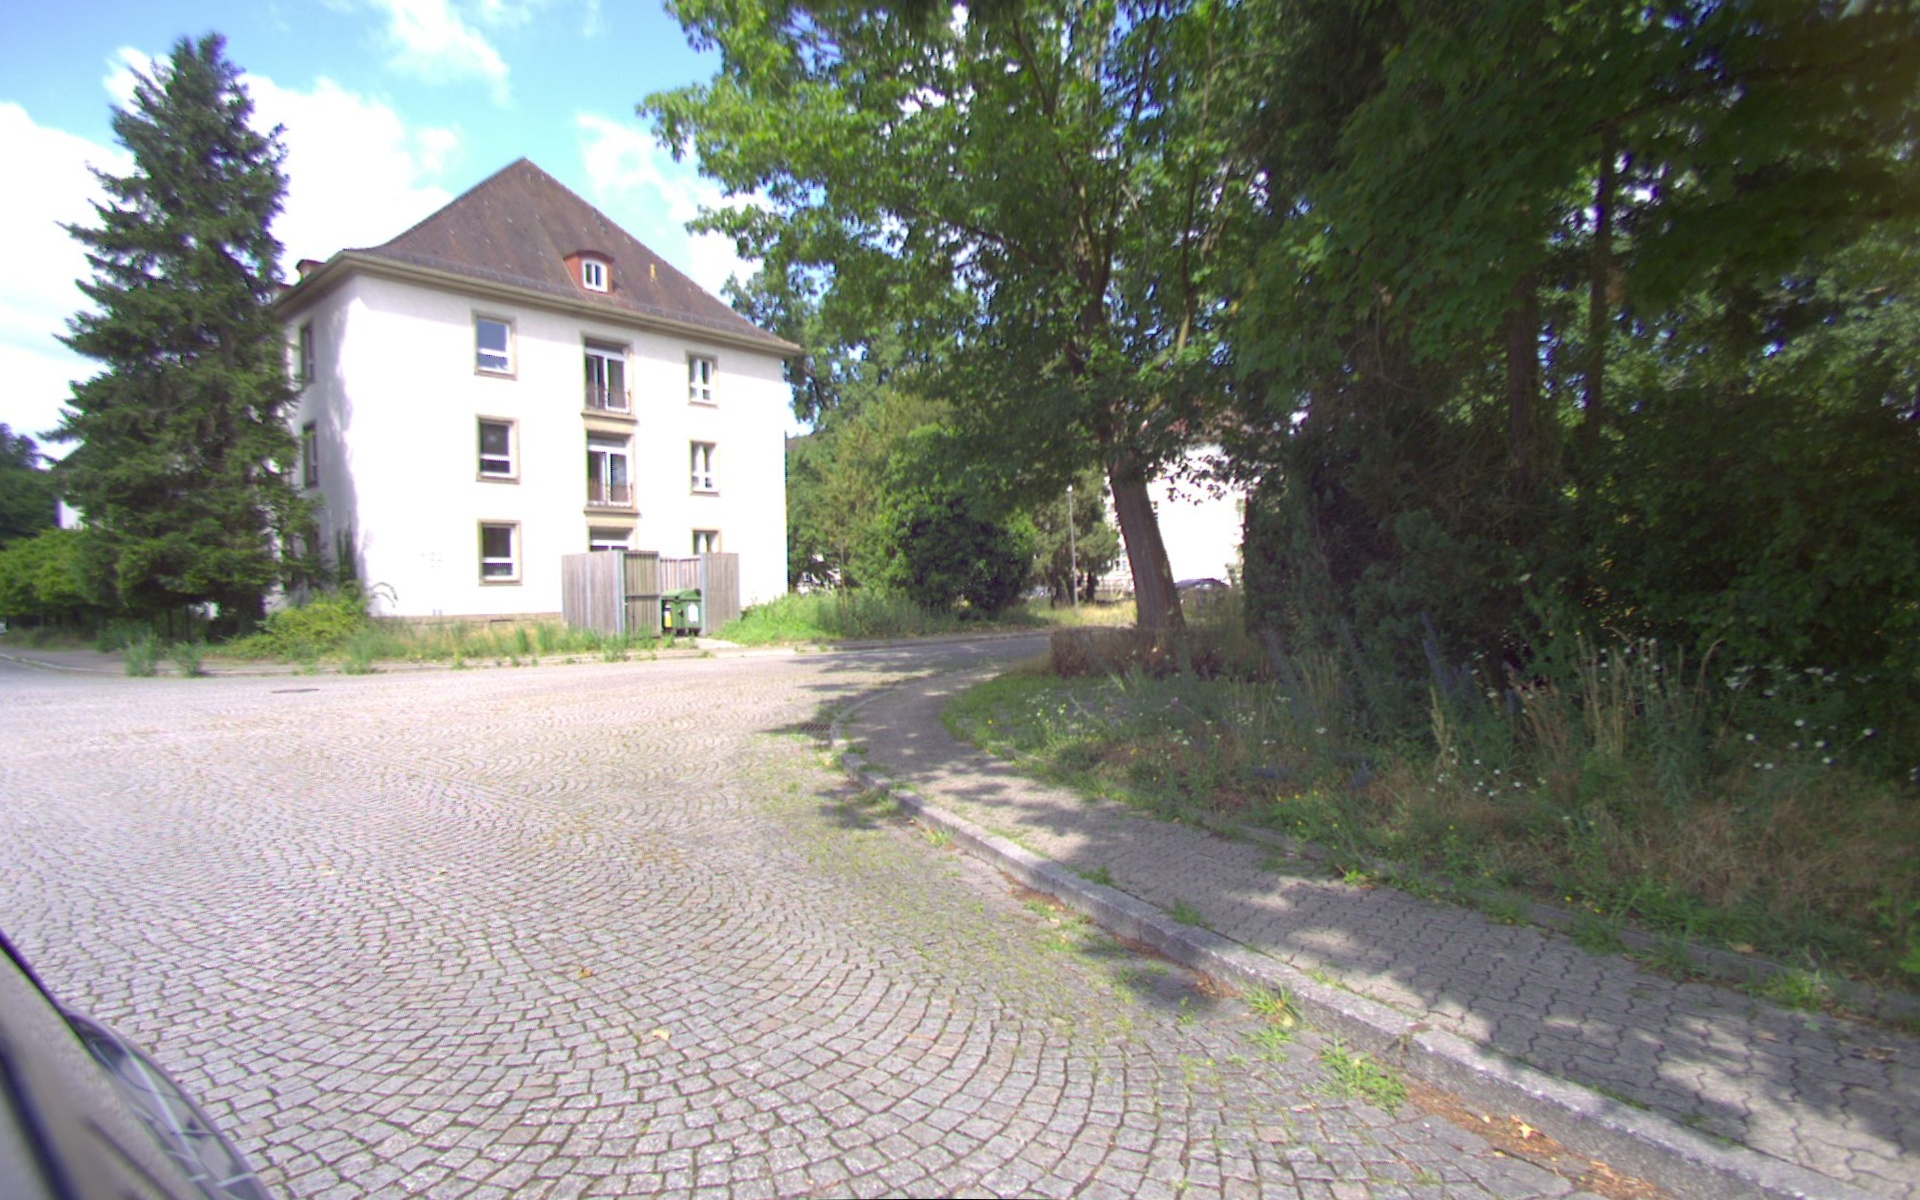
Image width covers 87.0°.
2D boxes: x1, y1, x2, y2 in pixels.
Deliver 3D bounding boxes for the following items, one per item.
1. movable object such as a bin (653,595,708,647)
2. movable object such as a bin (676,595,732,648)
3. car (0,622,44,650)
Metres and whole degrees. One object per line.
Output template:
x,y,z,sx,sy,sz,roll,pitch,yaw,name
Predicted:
-8.625,0.630,31.222,1.152,1.542,1.158,-1,0,39,movable object such as a bin
-7.698,0.624,30.470,1.152,1.542,1.158,-1,0,39,movable object such as a bin
-59.925,2.261,63.070,1.766,1.656,4.031,-1,0,41,car
